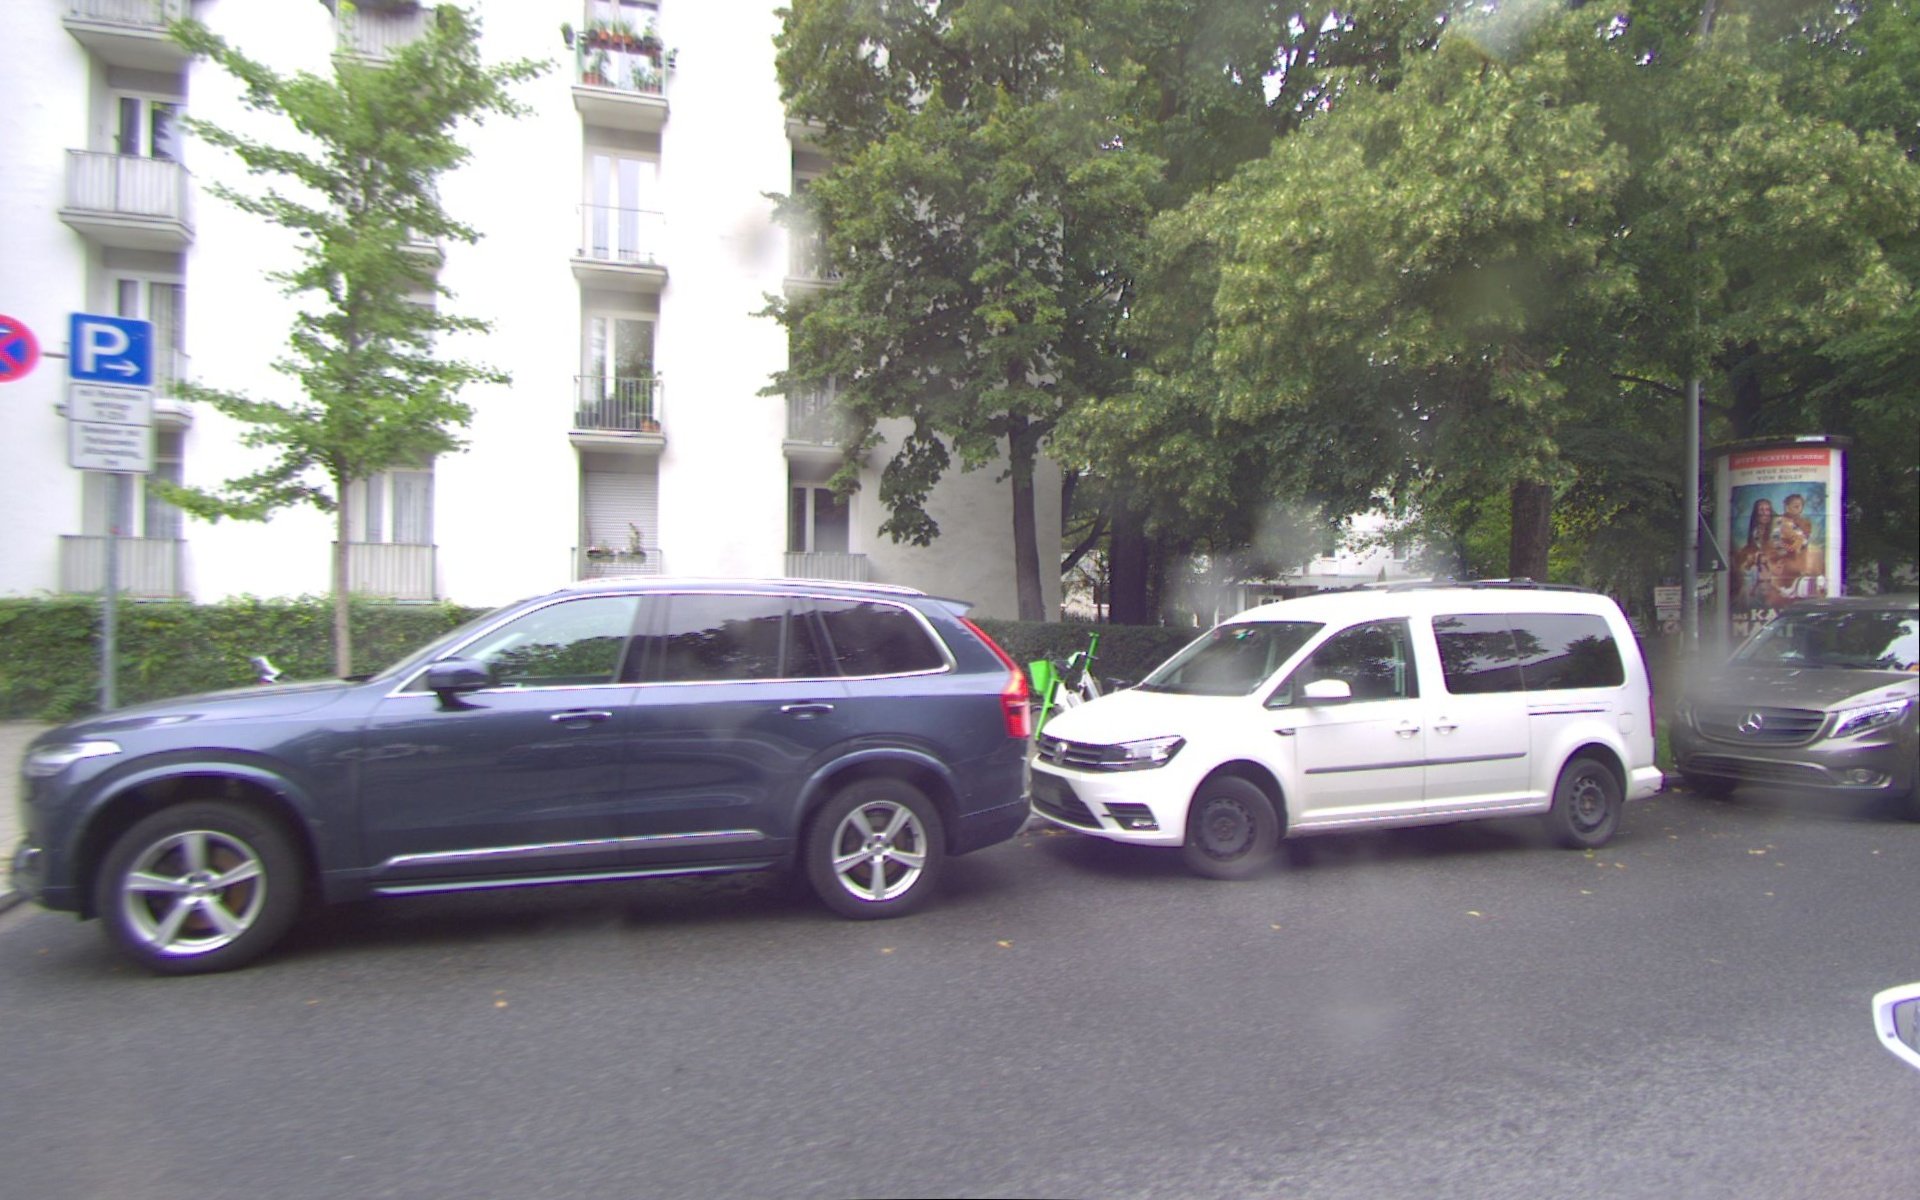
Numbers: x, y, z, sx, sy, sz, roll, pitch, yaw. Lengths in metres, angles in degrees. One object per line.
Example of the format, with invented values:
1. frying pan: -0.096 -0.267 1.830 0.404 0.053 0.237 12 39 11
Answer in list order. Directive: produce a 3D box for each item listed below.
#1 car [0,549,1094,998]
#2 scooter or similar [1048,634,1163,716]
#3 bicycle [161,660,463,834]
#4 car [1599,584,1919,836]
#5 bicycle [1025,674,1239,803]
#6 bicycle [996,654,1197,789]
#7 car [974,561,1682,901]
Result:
1. car: -2.077 0.740 5.570 5.222 1.742 2.082 1 -1 -19
2. scooter or similar: 2.259 1.143 15.606 1.634 1.207 0.700 1 -1 -23
3. bicycle: -4.672 1.013 7.378 1.764 1.099 0.747 1 -2 -31
4. car: 9.081 0.947 9.752 5.585 1.933 2.022 1 -3 -23
5. bicycle: 1.540 1.200 8.990 1.824 1.039 0.617 1 -1 -19
6. bicycle: 1.312 1.122 9.615 1.824 1.195 0.617 1 -1 -19
7. car: 2.708 0.817 7.522 4.784 1.929 2.081 1 -1 -20
